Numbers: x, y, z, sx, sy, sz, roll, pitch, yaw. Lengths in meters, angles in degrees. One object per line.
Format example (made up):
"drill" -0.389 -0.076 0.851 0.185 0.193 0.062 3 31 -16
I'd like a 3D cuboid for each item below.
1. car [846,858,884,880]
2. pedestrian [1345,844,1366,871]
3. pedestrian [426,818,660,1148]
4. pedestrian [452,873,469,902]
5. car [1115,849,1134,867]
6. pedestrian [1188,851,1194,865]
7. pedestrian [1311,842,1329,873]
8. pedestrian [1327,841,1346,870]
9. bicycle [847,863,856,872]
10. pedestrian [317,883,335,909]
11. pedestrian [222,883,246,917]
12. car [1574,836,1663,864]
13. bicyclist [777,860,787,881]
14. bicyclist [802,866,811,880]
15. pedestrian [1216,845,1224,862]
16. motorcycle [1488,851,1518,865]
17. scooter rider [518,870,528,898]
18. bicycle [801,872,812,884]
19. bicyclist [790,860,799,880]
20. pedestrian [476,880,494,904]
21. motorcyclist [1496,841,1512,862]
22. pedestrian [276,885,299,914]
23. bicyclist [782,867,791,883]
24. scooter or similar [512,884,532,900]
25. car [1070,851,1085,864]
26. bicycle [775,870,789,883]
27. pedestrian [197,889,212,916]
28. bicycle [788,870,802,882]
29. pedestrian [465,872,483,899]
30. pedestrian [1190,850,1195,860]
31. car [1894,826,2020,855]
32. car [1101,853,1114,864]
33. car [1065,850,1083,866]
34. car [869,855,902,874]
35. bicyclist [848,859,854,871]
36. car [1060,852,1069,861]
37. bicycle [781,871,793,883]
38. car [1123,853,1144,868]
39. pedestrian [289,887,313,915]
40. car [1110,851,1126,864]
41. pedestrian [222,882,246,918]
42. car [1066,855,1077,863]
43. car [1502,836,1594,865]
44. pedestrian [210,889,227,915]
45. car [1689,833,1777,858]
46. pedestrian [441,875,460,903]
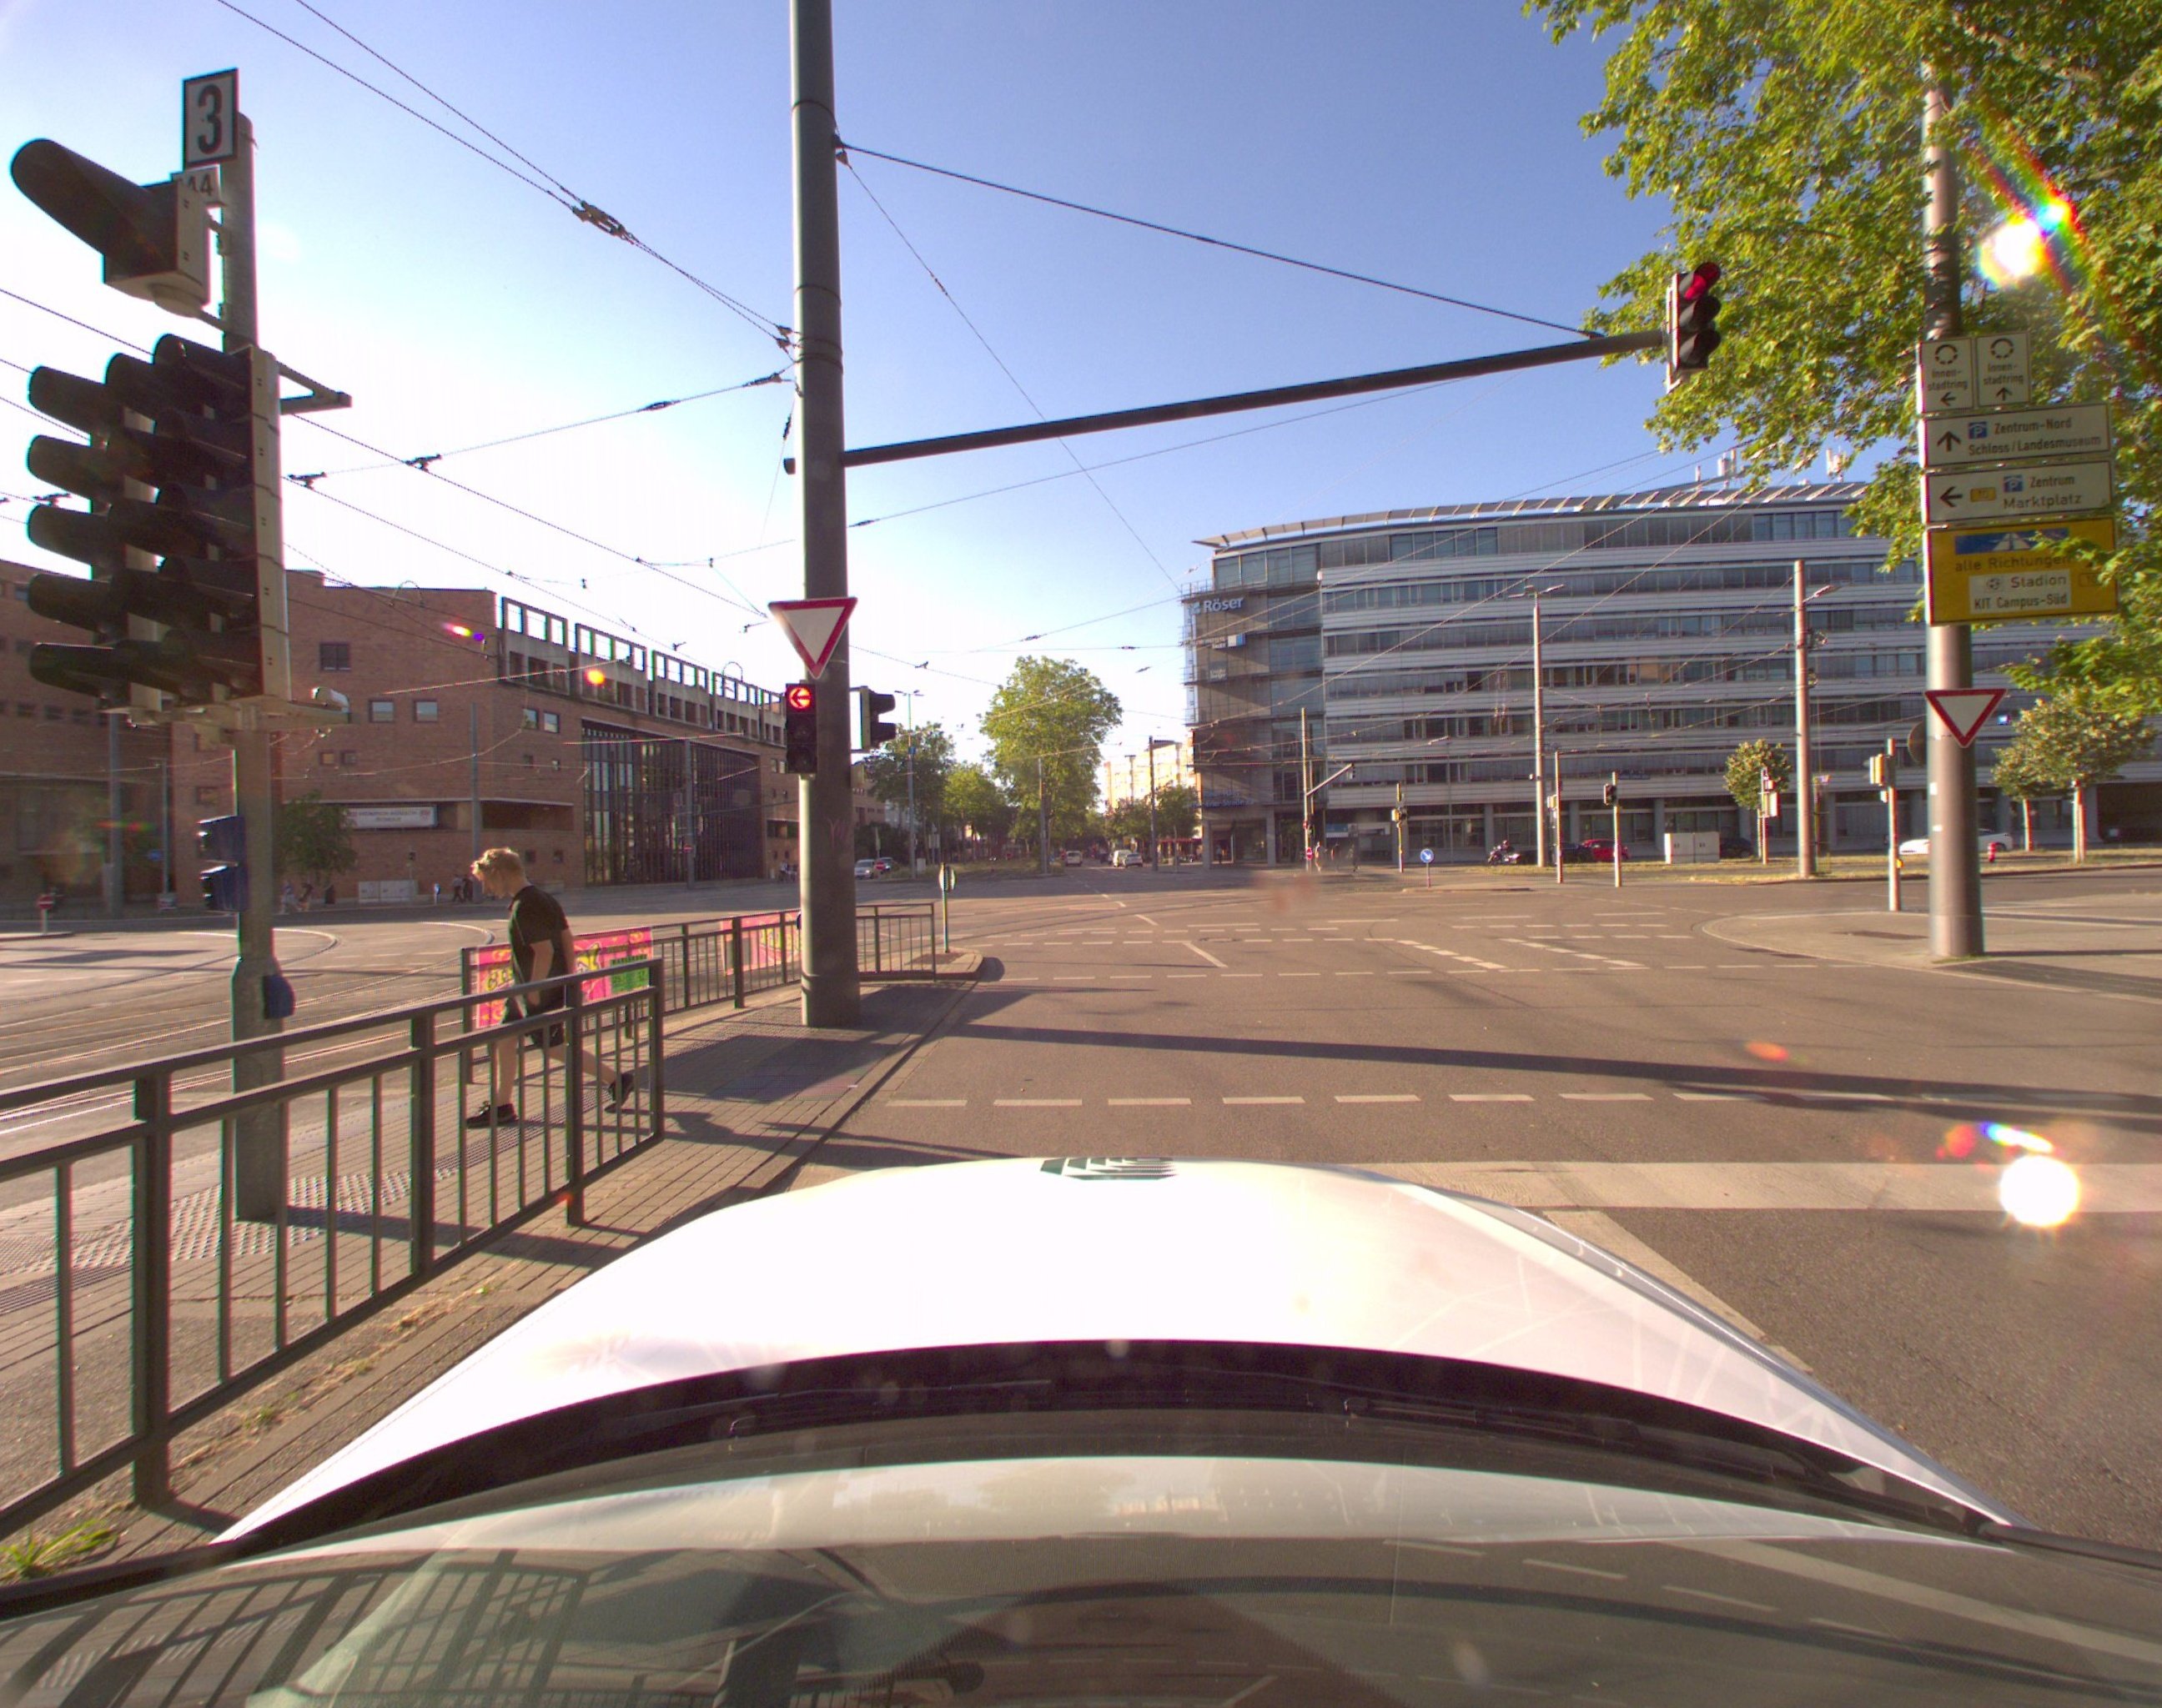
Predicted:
"car" -18.006 1.225 67.953 1.987 1.640 4.001 -2 0 1
"pedestrian" 16.319 0.189 48.428 0.943 1.564 0.899 -2 0 8
"pedestrian" -3.235 0.678 4.943 1.097 1.748 0.735 -1 0 -36
"pedestrian" -36.856 1.979 48.367 0.548 1.683 0.591 -2 0 -7
"car" 4.743 0.456 89.640 1.986 1.860 4.002 -2 0 2
"pedestrian" 14.141 0.514 104.657 0.741 1.714 0.612 -2 0 1
"pedestrian" 14.126 0.214 48.168 0.859 1.788 0.873 -2 0 8
"pedestrian" 15.413 0.073 49.097 0.907 1.685 1.038 -2 0 9
"bicycle" -24.675 1.434 87.629 0.490 0.963 1.487 -2 0 2
"pedestrian" -44.766 2.501 48.276 0.548 1.506 0.489 -2 0 -12
"pedestrian" -40.877 2.210 39.299 0.591 1.614 0.592 -2 0 20
"car" 31.956 -0.256 48.510 3.966 1.393 1.789 -4 0 7
"bicyclist" -24.361 1.328 66.257 0.534 1.731 0.581 -2 0 1
"bicyclist" -24.339 1.699 72.267 0.503 1.179 0.581 -2 0 1
"pedestrian" 12.523 -0.029 73.383 0.608 1.507 0.581 -2 0 12
"motorcycle" 25.425 0.244 49.084 1.560 0.810 0.468 -2 0 6
"scooter rider" -33.724 1.813 49.200 0.441 1.647 0.226 -2 0 -44
"bicycle" -24.343 2.101 72.134 0.449 0.963 1.348 -2 0 2
"bicyclist" -23.377 1.339 66.467 0.456 1.603 0.581 -2 0 1
"pedestrian" -36.544 2.326 49.956 0.596 1.421 0.641 -2 0 -2
"motorcyclist" 25.466 -0.141 49.072 0.708 1.275 0.460 -2 0 5
"pedestrian" -40.296 2.299 41.370 0.563 1.453 0.617 -2 0 18
"bicyclist" -25.096 1.770 69.326 0.503 1.304 0.581 -2 0 1
"scooter or similar" -33.729 2.285 49.151 0.956 0.899 0.173 -2 0 -45
"car" -0.552 0.525 122.706 1.986 1.912 4.002 -2 0 2
"bicycle" -24.343 1.838 66.313 0.540 0.963 1.587 -2 0 2
"pedestrian" -49.381 2.710 45.880 0.583 1.463 0.537 -2 0 44
"bicycle" -23.357 1.798 66.544 0.471 0.963 1.576 -2 0 2
"pedestrian" -37.985 1.985 50.991 0.614 1.625 0.612 -2 0 -2
"pedestrian" 14.514 0.141 105.910 0.575 1.289 0.910 -2 0 2
"car" 47.312 -0.716 44.065 4.580 1.336 1.789 -2 0 7
"car" 4.092 0.665 126.778 1.986 1.618 4.002 -2 0 2
"car" -0.787 0.503 101.560 1.953 1.848 5.333 -2 0 2
"car" -18.117 0.969 75.528 1.987 1.640 4.001 -2 0 1
"bicyclist" -24.758 1.164 87.675 0.503 1.210 0.581 -2 0 1
"car" -3.846 0.600 193.248 1.986 2.013 4.001 -2 0 1
"bicycle" -25.060 1.929 69.372 0.466 0.963 1.320 -2 0 2
"car" 5.289 0.627 82.822 1.986 1.376 4.002 -2 0 2
"pedestrian" -38.669 2.340 40.368 0.596 1.339 0.685 -2 0 31
"car" 4.820 0.484 105.296 1.986 1.618 4.002 -2 0 2
"pedestrian" -40.205 2.171 38.671 0.594 1.648 0.551 -2 0 17
"car" -1.717 0.937 147.578 1.792 1.442 3.999 0 -1 0
"car" 26.452 -0.191 46.193 4.136 1.398 1.789 -2 0 7
"pedestrian" -48.903 2.716 46.177 0.547 1.409 0.577 -2 0 35
"car" 42.259 -0.533 52.833 4.136 1.398 1.789 -2 0 7
"pedestrian" -38.071 2.114 49.159 0.619 1.683 0.650 -2 0 -5
